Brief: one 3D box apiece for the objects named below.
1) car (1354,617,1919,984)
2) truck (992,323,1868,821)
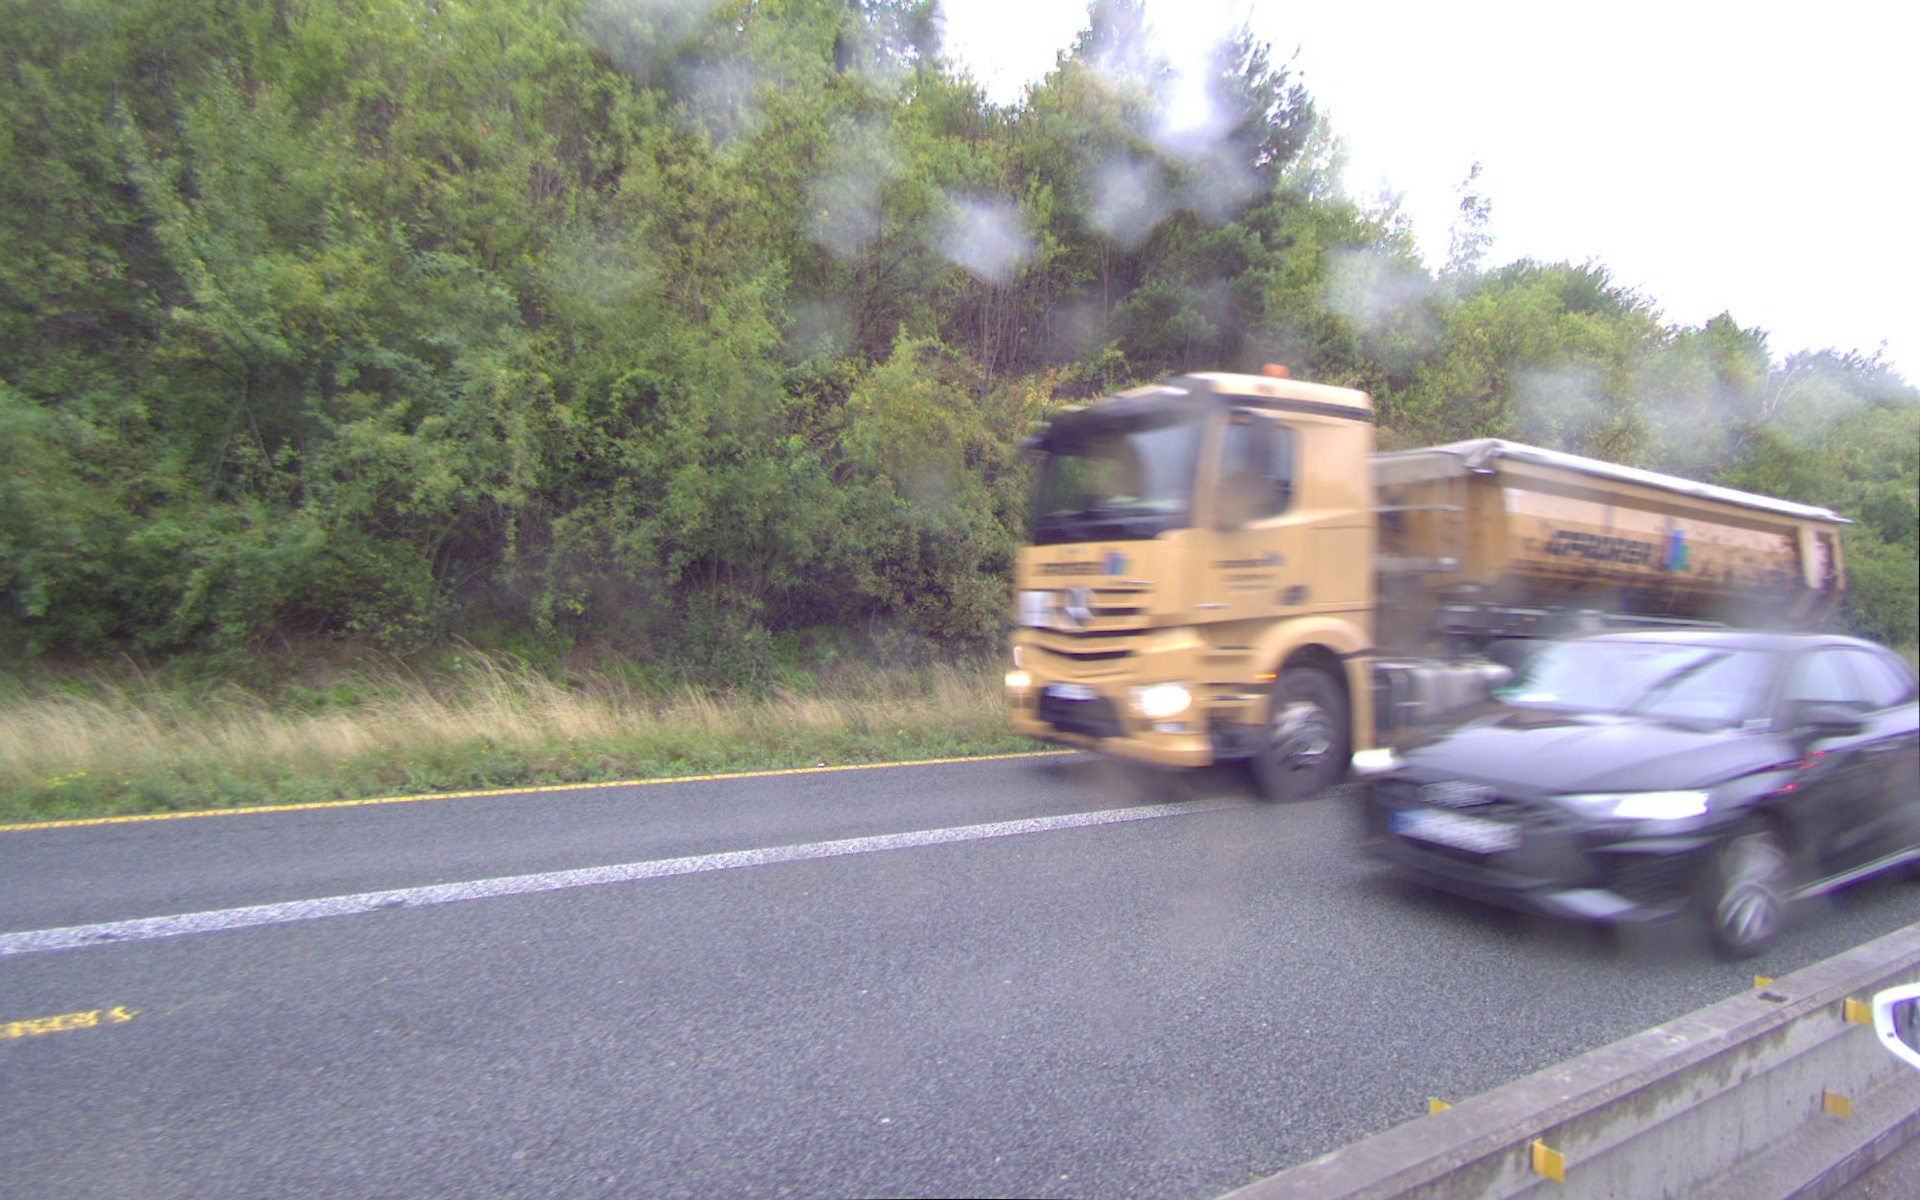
[{"bbox_3d":[4.230,0.866,5.768,3.886,1.428,1.677,2,0,-32],"label":"car"},{"bbox_3d":[6.046,-0.035,11.039,11.913,3.397,2.522,2,0,-31],"label":"truck"}]
